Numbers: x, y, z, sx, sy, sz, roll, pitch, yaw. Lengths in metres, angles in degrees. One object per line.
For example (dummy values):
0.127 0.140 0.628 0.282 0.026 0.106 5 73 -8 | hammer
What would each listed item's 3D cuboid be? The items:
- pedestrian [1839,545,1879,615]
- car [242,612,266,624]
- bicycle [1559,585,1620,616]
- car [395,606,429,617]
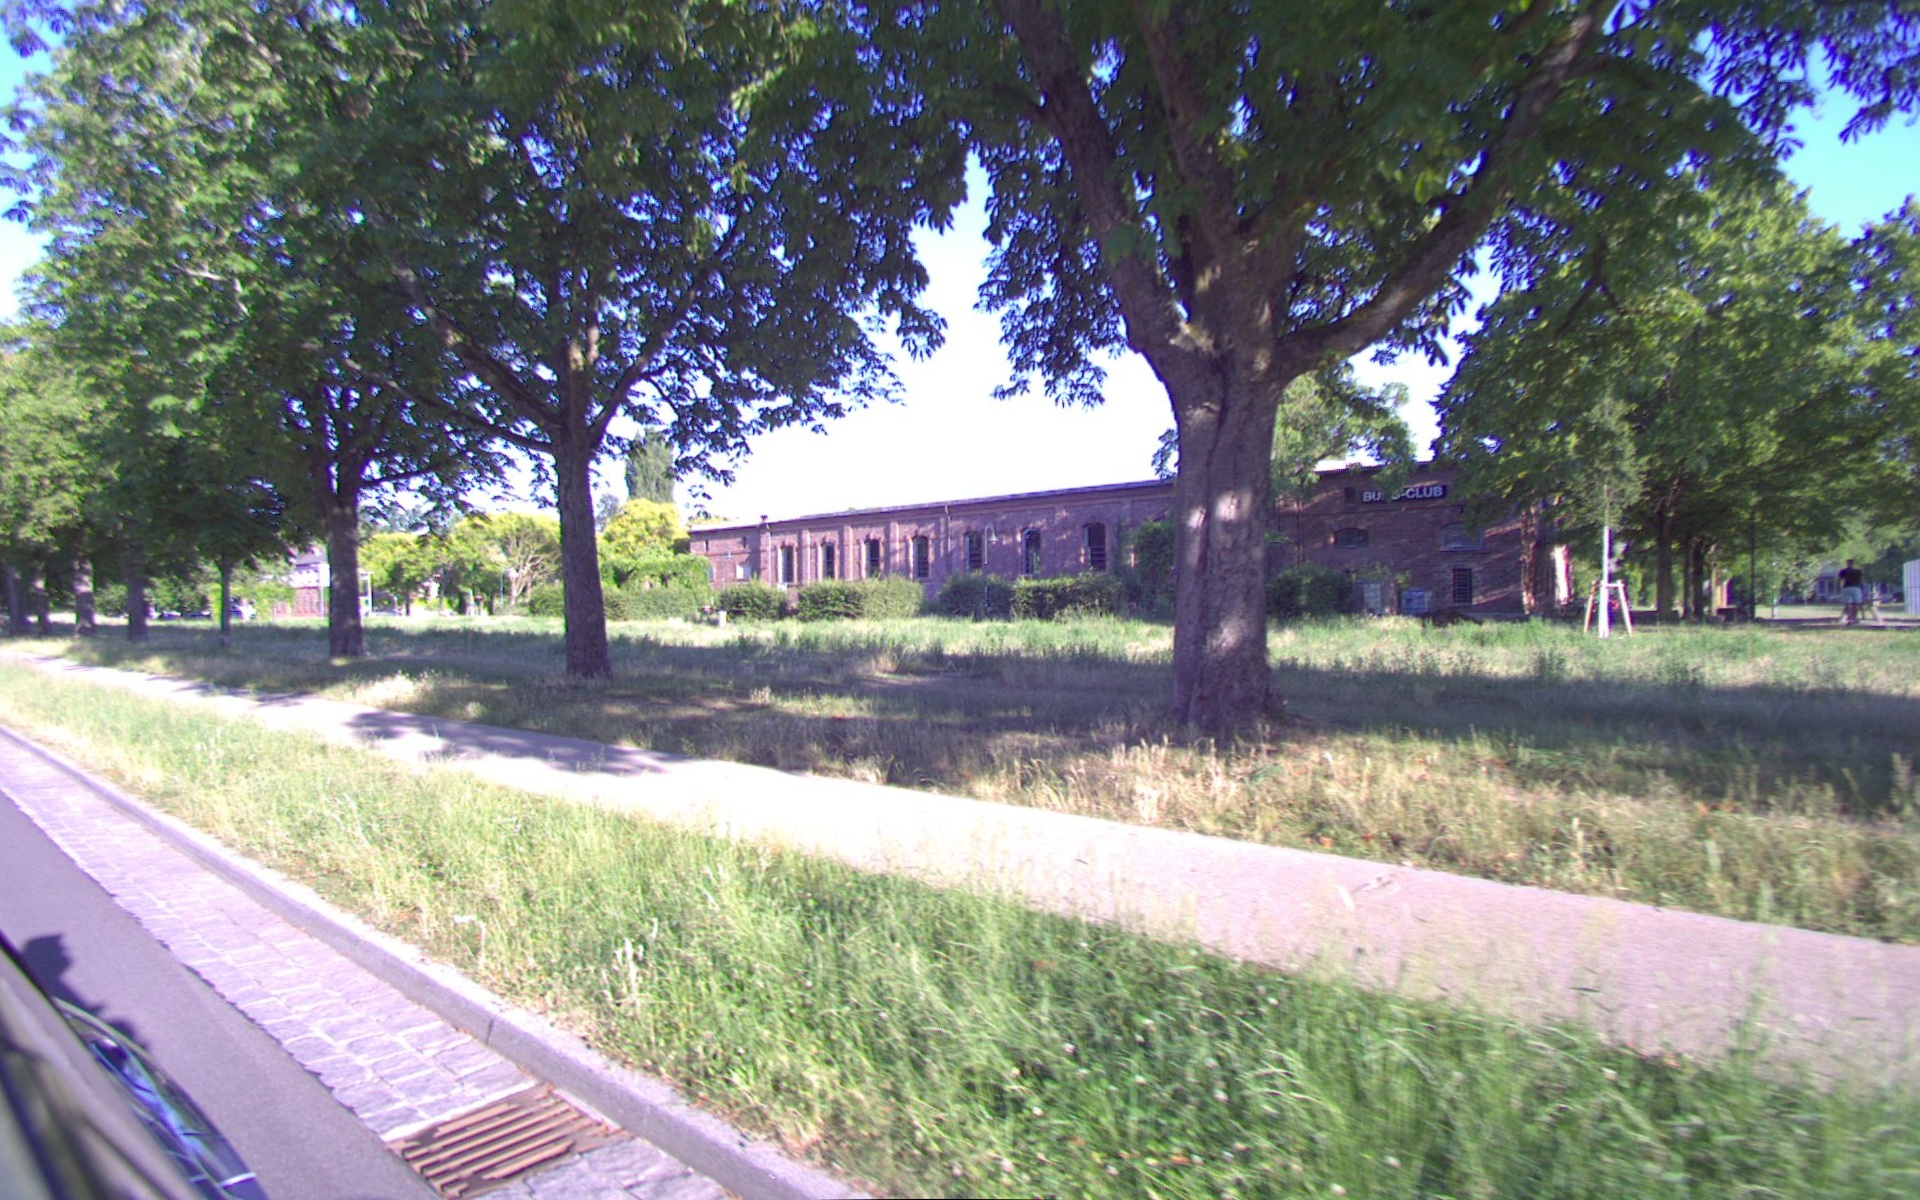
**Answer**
24.784 -0.549 27.907 0.798 1.895 1.037 0 1 43 | pedestrian
-97.264 2.464 139.370 3.998 1.641 1.744 -1 1 41 | car
27.192 0.024 43.731 2.149 1.279 0.677 -1 0 43 | bicycle
-73.504 1.486 135.780 1.586 1.289 3.589 0 2 42 | car
